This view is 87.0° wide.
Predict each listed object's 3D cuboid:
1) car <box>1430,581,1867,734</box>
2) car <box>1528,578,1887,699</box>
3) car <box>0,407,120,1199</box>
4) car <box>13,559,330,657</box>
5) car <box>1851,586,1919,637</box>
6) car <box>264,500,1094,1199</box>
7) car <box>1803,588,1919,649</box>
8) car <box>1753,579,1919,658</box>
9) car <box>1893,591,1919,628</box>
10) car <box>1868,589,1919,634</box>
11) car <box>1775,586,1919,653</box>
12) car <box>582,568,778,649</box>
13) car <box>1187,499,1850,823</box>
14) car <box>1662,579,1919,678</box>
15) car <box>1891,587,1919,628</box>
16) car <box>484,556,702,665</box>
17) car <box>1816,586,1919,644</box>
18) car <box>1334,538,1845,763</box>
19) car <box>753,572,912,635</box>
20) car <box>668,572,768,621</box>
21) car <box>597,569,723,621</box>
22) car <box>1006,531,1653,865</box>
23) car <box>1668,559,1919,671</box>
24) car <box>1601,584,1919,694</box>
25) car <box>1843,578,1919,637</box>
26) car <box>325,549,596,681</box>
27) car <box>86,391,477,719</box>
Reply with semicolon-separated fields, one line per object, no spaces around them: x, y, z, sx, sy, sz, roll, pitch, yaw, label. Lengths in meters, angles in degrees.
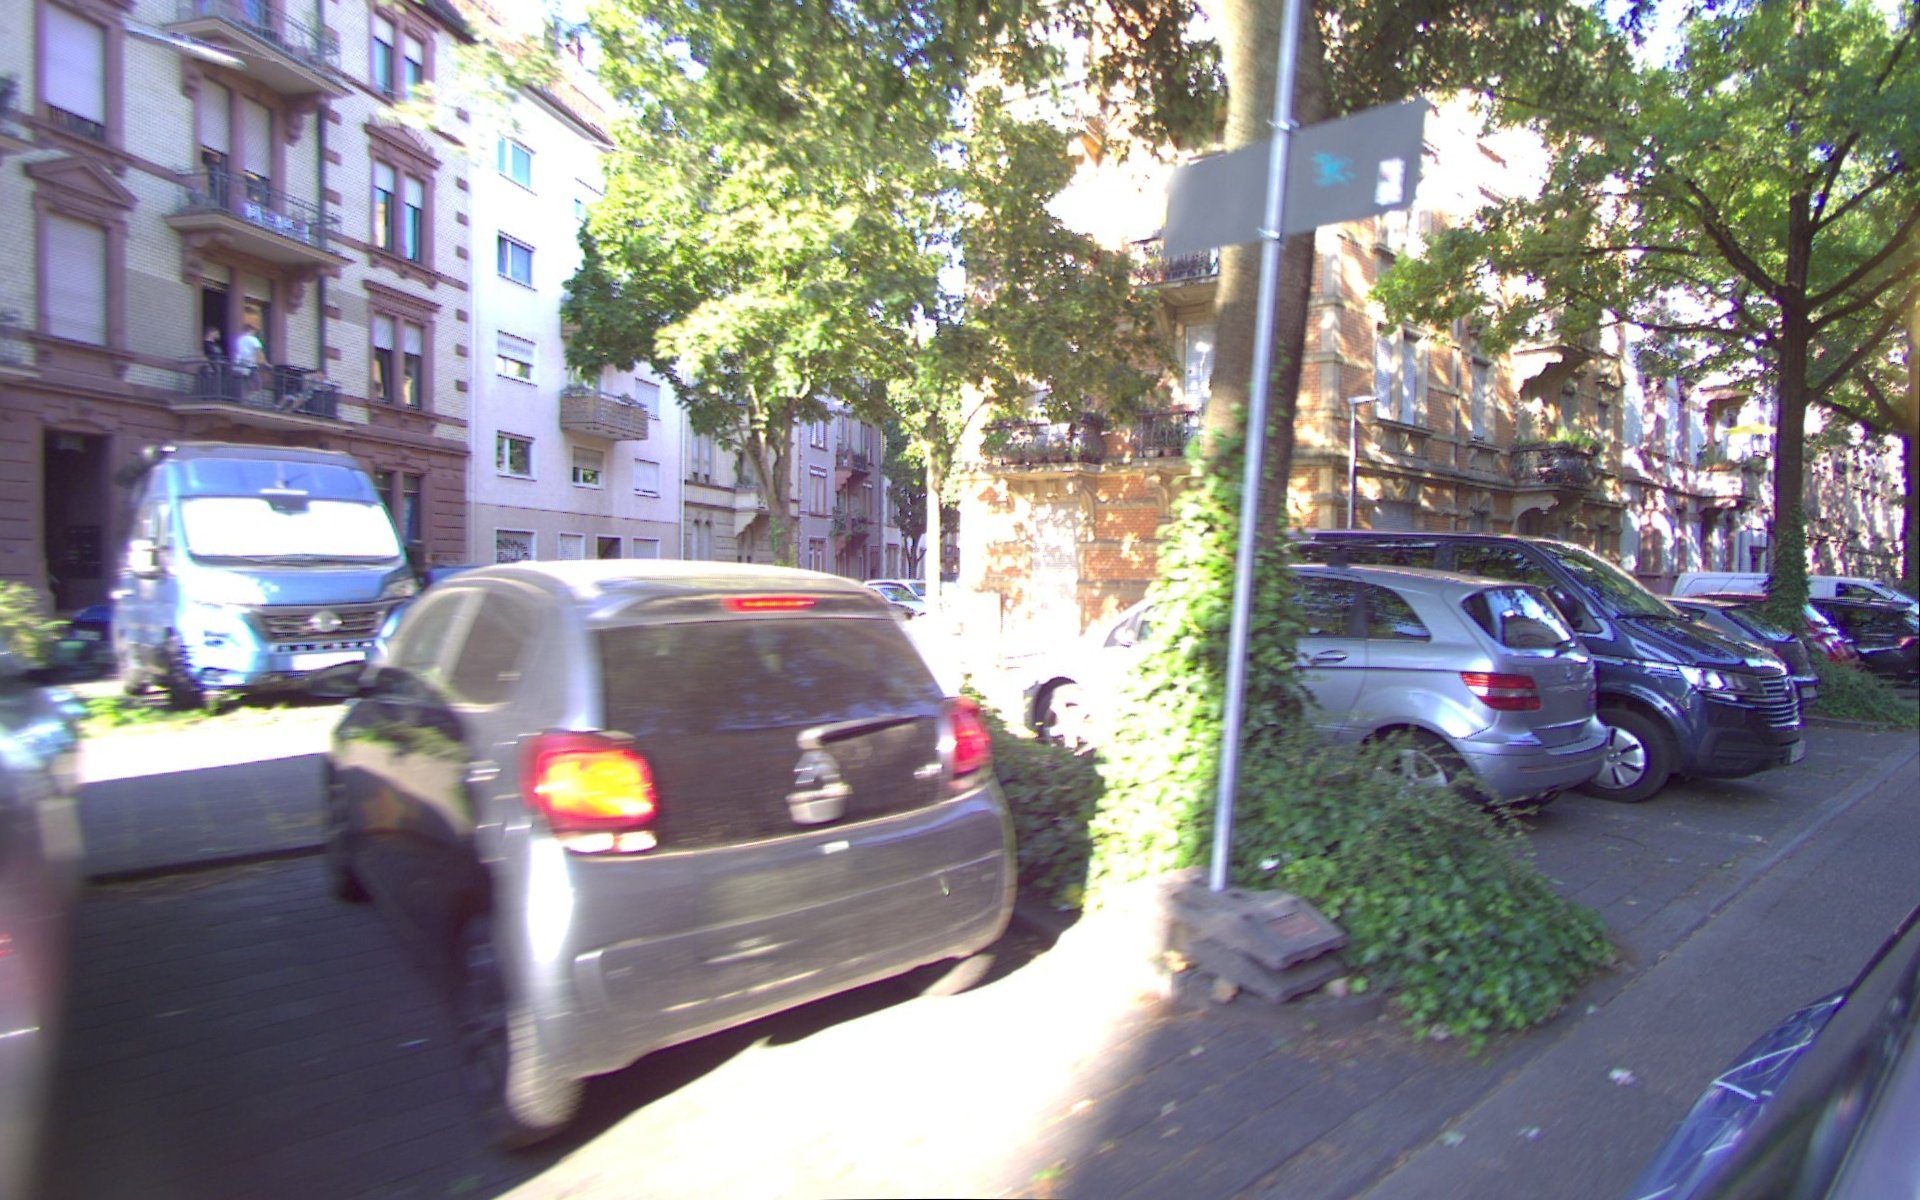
8.165;0.545;12.348;1.854;1.466;4.000;0;2;-35;car
11.267;0.472;15.501;1.810;1.516;4.091;0;2;-39;car
-3.053;0.498;2.332;1.710;1.615;3.849;0;2;-40;car
-13.561;0.074;17.778;1.838;1.493;4.230;1;1;12;car
31.808;0.396;32.968;1.752;1.610;3.992;0;2;-43;car
-1.506;0.506;4.094;1.815;1.534;3.849;0;2;-40;car
25.395;0.508;26.640;1.898;1.521;4.669;0;2;-40;car
20.865;0.396;23.262;1.695;1.669;3.890;0;2;-42;car
40.834;0.423;41.098;1.768;1.488;4.111;1;1;-39;car
33.801;0.431;34.559;1.752;1.480;3.992;0;2;-43;car
22.968;0.470;25.007;1.778;1.521;4.116;0;2;-39;car
-5.306;0.090;18.858;1.832;1.292;4.059;0;2;-44;car
4.484;0.305;8.752;1.966;2.038;4.622;0;2;-42;car
15.397;0.454;18.501;3.987;1.492;1.754;4;3;43;car
36.038;0.401;36.033;1.648;1.404;3.997;0;4;-40;car
-5.993;0.090;16.269;1.832;1.529;4.059;0;1;-44;car
27.303;0.446;28.513;1.964;1.548;4.564;0;2;-38;car
6.499;0.357;10.815;1.907;1.908;4.273;0;2;-43;car
-3.300;0.034;25.471;1.819;1.389;4.405;0;2;-41;car
-8.571;-0.159;36.242;1.838;1.602;4.230;1;1;12;car
-8.977;-0.179;30.176;3.986;1.389;1.823;2;2;42;car
2.358;0.433;7.266;1.769;1.713;3.994;0;2;-41;car
17.374;0.207;20.067;2.121;1.963;5.103;-4;4;-39;car
13.286;0.533;16.535;1.899;1.473;4.380;0;2;-39;car
30.148;0.305;30.850;1.850;1.723;4.651;0;3;-43;car
-6.918;0.105;13.820;4.291;1.523;1.886;2;2;42;car
-7.520;-0.432;10.855;5.896;2.569;2.342;2;1;44;car
